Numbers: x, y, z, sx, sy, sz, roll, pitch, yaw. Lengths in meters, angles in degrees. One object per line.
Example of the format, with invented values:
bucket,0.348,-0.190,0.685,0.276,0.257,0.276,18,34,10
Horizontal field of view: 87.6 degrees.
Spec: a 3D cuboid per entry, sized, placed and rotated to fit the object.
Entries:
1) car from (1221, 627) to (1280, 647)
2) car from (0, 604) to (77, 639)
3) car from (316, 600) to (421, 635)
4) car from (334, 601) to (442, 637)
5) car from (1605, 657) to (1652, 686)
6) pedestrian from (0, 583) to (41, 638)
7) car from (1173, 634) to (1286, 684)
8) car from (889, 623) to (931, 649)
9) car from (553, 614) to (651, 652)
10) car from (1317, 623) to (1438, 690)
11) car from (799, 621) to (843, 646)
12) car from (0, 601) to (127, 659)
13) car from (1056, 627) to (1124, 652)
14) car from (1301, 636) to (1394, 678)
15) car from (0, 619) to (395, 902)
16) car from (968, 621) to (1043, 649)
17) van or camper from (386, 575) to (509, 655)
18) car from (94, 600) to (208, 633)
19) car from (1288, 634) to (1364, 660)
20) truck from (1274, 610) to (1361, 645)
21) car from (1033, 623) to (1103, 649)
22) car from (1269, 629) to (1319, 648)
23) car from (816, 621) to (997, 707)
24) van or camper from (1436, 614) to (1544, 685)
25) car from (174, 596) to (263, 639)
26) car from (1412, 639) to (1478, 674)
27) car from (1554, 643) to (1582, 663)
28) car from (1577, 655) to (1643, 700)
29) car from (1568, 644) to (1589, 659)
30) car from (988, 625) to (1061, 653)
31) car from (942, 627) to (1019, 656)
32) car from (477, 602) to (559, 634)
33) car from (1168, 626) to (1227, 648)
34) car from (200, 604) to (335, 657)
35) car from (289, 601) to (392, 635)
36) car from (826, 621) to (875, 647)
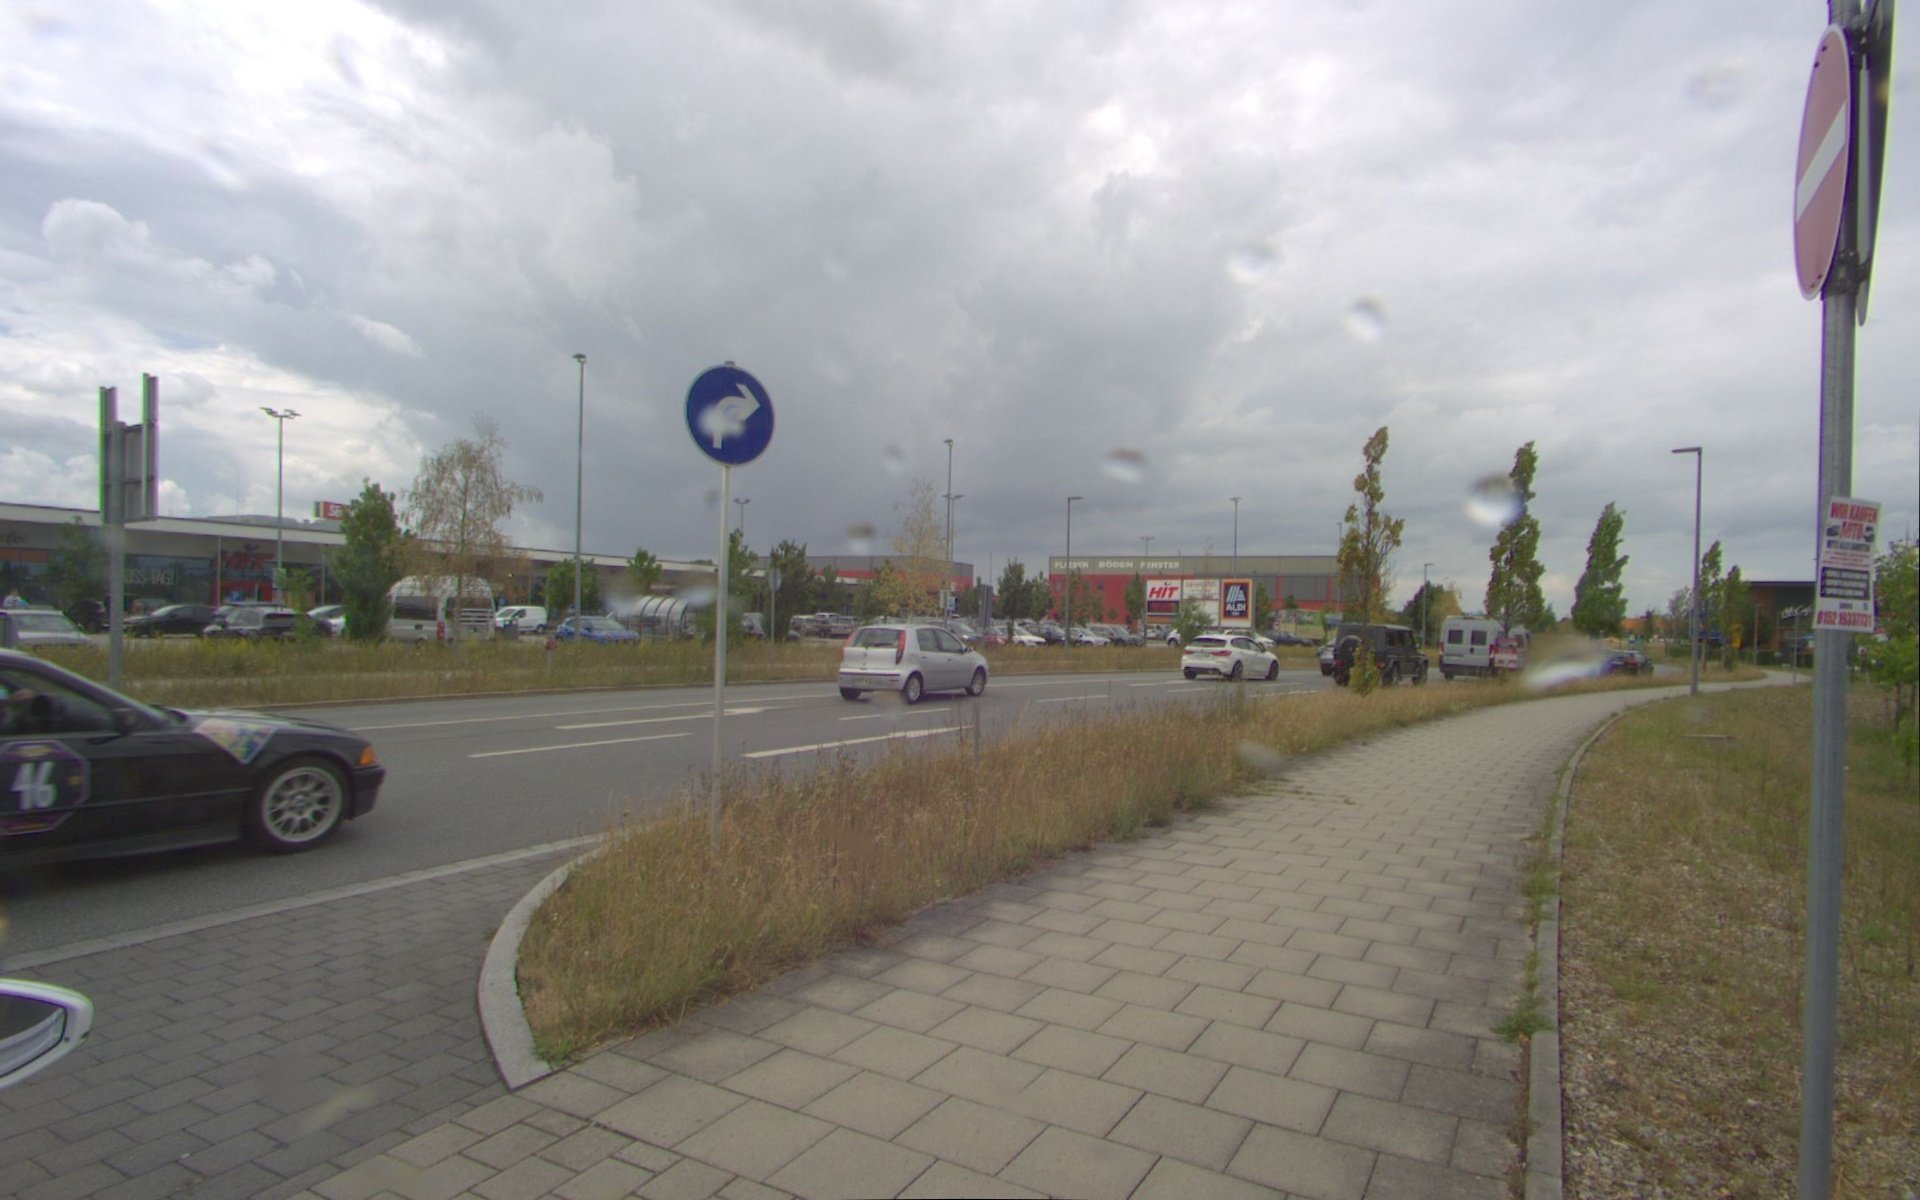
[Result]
car,22.645,2.881,78.156,3.951,1.460,1.986,0,-2,39
car,-44.025,1.015,47.493,3.937,1.527,1.993,1,-1,28
car,-29.185,0.896,49.500,1.972,1.639,3.978,1,-1,34
car,-27.016,0.905,47.388,1.972,1.639,3.978,1,-1,34
car,34.446,3.654,51.571,1.479,1.403,3.312,0,-2,44
pedestrian,-35.403,0.395,37.731,0.988,2.040,0.864,1,0,31
car,8.714,1.843,32.191,1.780,1.469,4.214,1,-1,42
car,-3.441,2.442,69.480,1.731,1.675,3.831,1,0,17
car,-14.229,1.288,39.686,4.099,1.402,1.798,0,-2,39
car,13.495,1.797,32.199,1.979,1.948,4.807,1,-2,44
car,-10.078,2.409,72.843,1.731,1.675,3.831,1,0,17
car,-23.585,0.755,25.964,4.092,1.402,1.984,0,-2,34
car,8.088,2.429,62.578,3.766,1.408,1.901,1,0,38
car,15.437,2.208,39.715,1.790,1.527,4.844,1,-1,42
car,-5.686,0.823,5.446,1.731,1.404,4.285,1,-1,28
car,2.503,1.937,55.818,3.766,1.408,1.901,1,0,38
van or camper,-17.263,0.518,33.663,3.951,2.524,2.274,0,-2,39
car,-40.421,0.835,50.118,1.968,1.527,3.986,1,-1,27
car,21.841,2.789,59.845,3.942,1.394,1.856,1,-1,33
truck,32.518,2.483,91.062,8.060,2.984,2.668,2,-1,-27
car,6.487,2.166,60.386,3.766,1.408,1.901,1,0,38
car,27.890,3.223,83.649,3.781,1.446,1.736,1,-1,27
car,-0.952,1.188,19.793,1.774,1.480,3.799,1,-1,31
van or camper,21.131,1.963,39.756,2.172,2.574,6.114,1,-2,44
car,-31.219,0.718,42.146,3.945,1.675,1.810,1,-1,35
car,23.626,2.724,48.734,1.886,1.588,4.304,1,-1,40
car,53.350,4.614,87.850,1.882,1.589,4.312,1,-1,34
car,26.764,3.130,41.200,1.667,1.698,3.475,0,-2,44
car,81.049,6.734,131.265,1.779,1.873,3.905,1,-2,25
car,3.716,2.218,57.563,3.766,1.408,1.901,1,0,38
car,1.074,2.222,53.880,3.766,1.408,1.901,1,0,38
car,-27.090,1.148,61.508,1.966,1.842,4.418,1,-2,23
car,17.153,2.660,72.299,3.800,1.446,1.728,0,-2,43
car,-20.848,0.897,30.112,4.092,1.469,1.984,0,-2,34
car,-31.464,0.913,50.949,1.972,1.639,3.978,1,-1,34
car,-7.809,2.430,71.788,1.964,1.756,3.994,1,0,18
